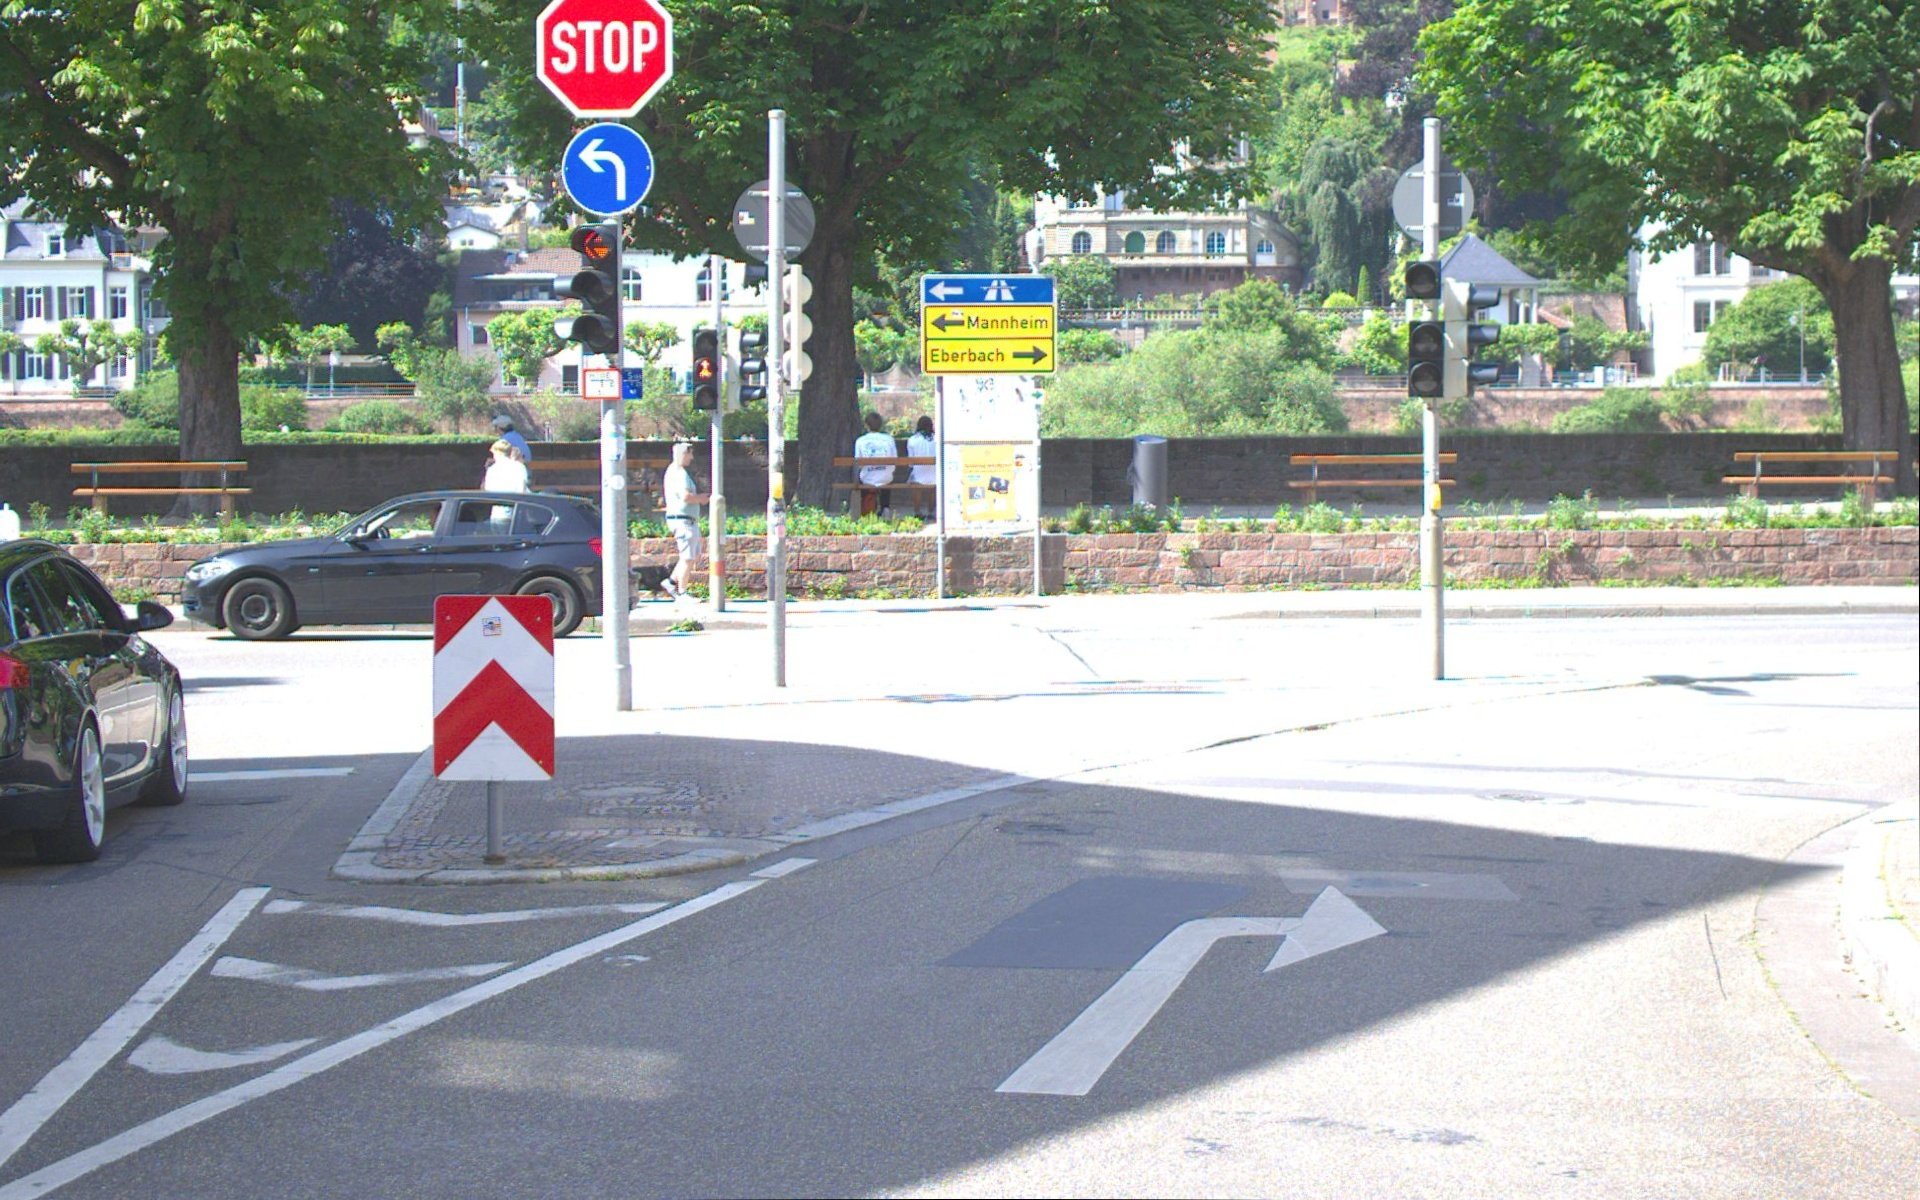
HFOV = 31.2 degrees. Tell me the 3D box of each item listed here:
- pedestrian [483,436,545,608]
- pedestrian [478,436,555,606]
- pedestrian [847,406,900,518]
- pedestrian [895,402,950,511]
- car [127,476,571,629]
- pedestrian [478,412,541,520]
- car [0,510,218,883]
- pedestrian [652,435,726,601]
[{"bbox_3d":[-4.691,-0.826,36.174,0.578,1.795,0.705,0,2,-1],"label":"pedestrian"},{"bbox_3d":[-4.771,-0.853,37.019,0.722,1.795,0.634,-1,1,-1],"label":"pedestrian"},{"bbox_3d":[-1.020,-1.626,40.598,0.553,1.275,0.704,2,-1,-4],"label":"pedestrian"},{"bbox_3d":[-0.448,-1.691,40.760,0.553,1.224,0.986,2,-1,-4],"label":"pedestrian"},{"bbox_3d":[-5.765,-0.472,32.840,3.986,1.413,1.875,0,2,-3],"label":"car"},{"bbox_3d":[-5.245,-1.556,40.043,0.641,1.224,0.414,2,-1,-14],"label":"pedestrian"},{"bbox_3d":[-4.733,0.361,16.298,1.714,1.457,4.726,-2,2,-5],"label":"car"},{"bbox_3d":[-2.933,-0.888,37.188,0.688,1.763,0.718,-1,1,-10],"label":"pedestrian"}]
